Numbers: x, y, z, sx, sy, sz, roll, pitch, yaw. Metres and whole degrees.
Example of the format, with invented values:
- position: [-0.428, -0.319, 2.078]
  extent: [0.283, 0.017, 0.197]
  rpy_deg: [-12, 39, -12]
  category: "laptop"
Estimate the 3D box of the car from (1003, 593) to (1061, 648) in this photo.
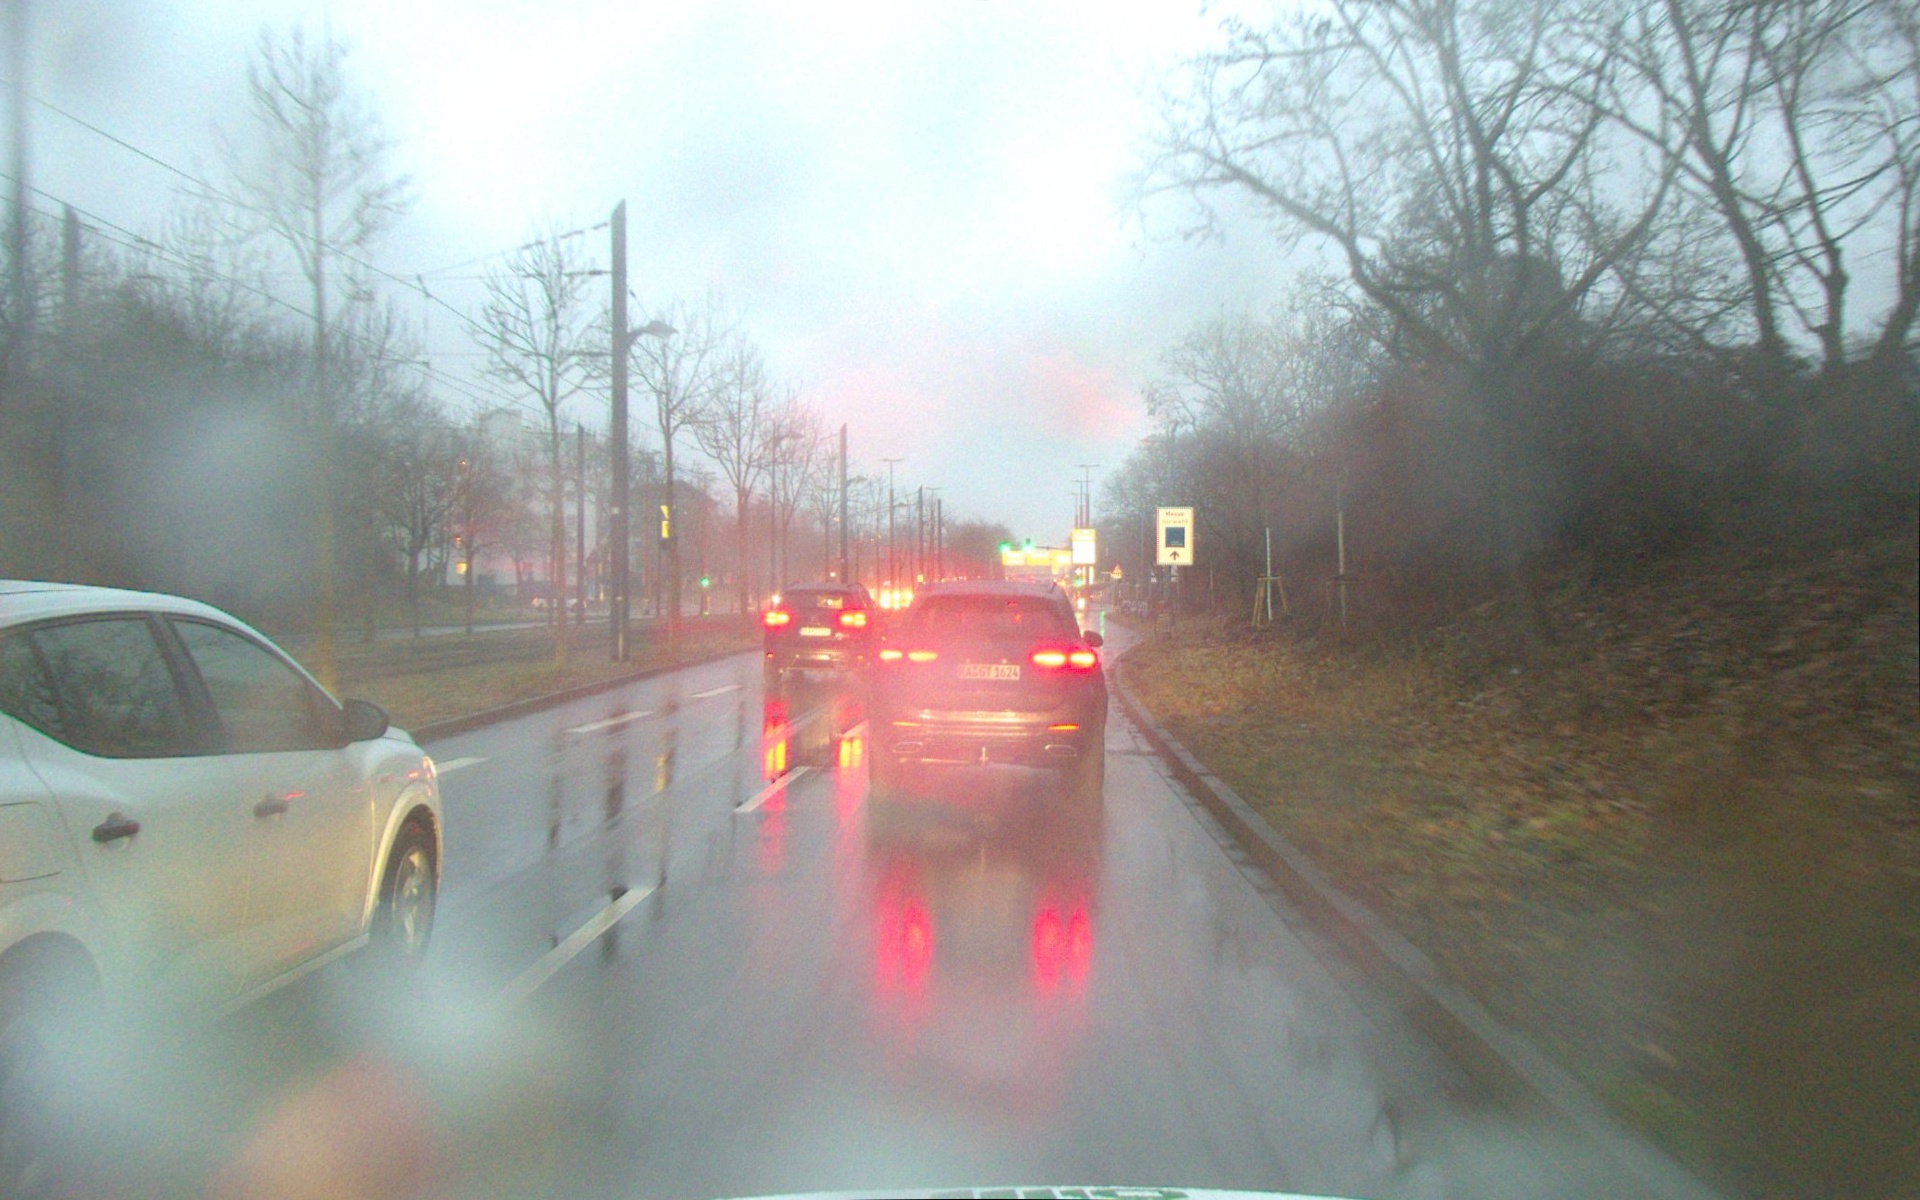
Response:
- position: [2.141, 0.584, 49.838]
  extent: [1.673, 1.585, 3.997]
  rpy_deg: [0, 0, 1]
  category: "car"

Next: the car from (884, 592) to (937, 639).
- position: [-1.707, 0.528, 58.003]
  extent: [1.673, 1.585, 3.996]
  rpy_deg: [0, 0, 1]
  category: "car"

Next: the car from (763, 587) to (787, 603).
- position: [-20.256, -0.561, 181.025]
  extent: [1.952, 1.687, 4.001]
  rpy_deg: [1, 0, 3]
  category: "car"

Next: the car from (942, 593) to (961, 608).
- position: [-0.990, 0.031, 189.459]
  extent: [1.952, 1.695, 3.838]
  rpy_deg: [0, 0, 3]
  category: "car"

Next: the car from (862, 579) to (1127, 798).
- position: [0.288, 0.643, 14.316]
  extent: [1.957, 1.612, 4.001]
  rpy_deg: [1, 0, 1]
  category: "car"

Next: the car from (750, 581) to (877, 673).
- position: [-2.463, 0.408, 28.694]
  extent: [1.841, 1.485, 4.000]
  rpy_deg: [0, 1, 0]
  category: "car"

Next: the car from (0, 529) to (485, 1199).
- position: [-2.840, 0.625, 4.891]
  extent: [1.673, 1.551, 4.134]
  rpy_deg: [0, 0, 0]
  category: "car"
